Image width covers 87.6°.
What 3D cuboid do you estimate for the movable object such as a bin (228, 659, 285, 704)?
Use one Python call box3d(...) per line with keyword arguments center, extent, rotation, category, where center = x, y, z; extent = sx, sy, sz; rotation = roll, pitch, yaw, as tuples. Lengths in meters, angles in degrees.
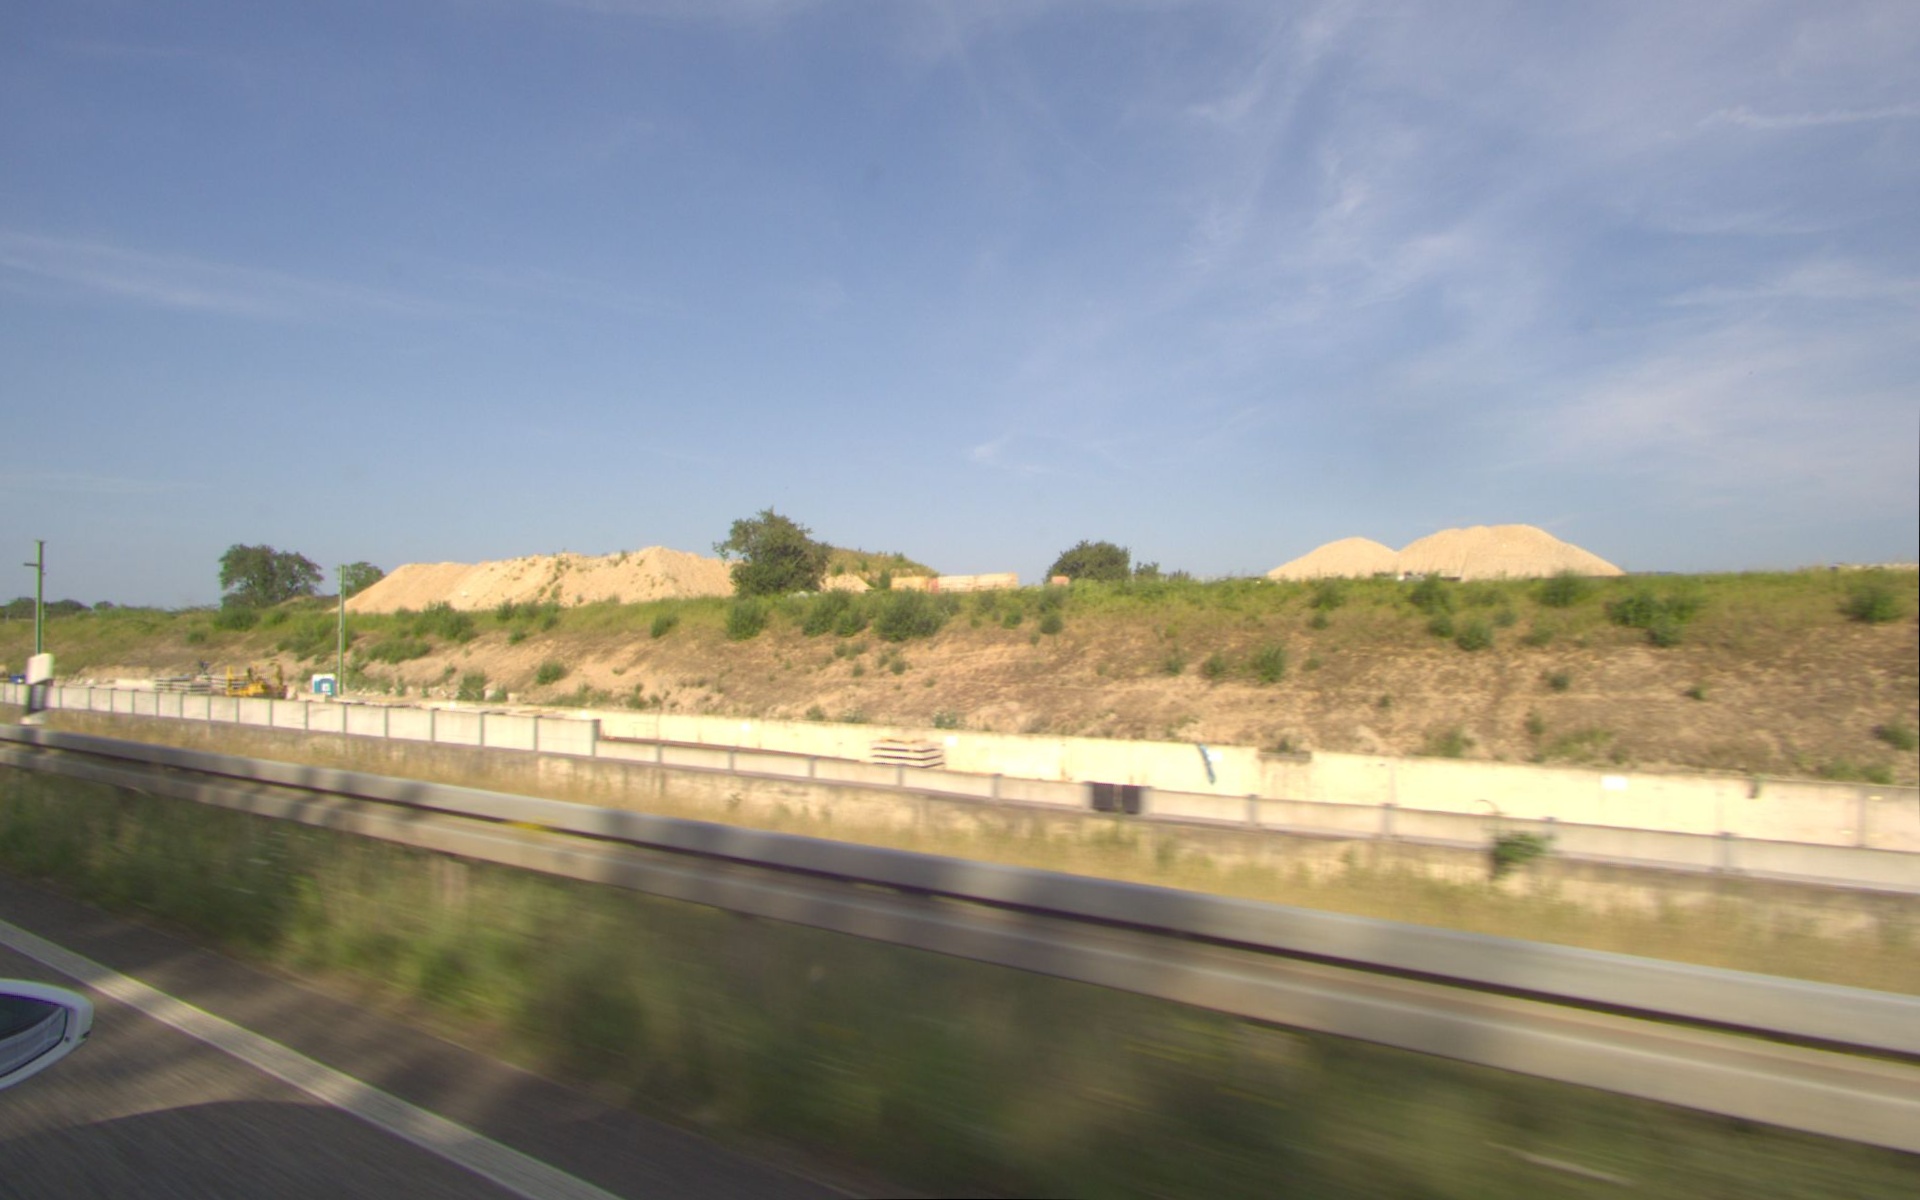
box3d(center=(-44.493, 5.113, 63.397), extent=(2.875, 2.695, 2.007), rotation=(1, -1, -34), category="movable object such as a bin")
